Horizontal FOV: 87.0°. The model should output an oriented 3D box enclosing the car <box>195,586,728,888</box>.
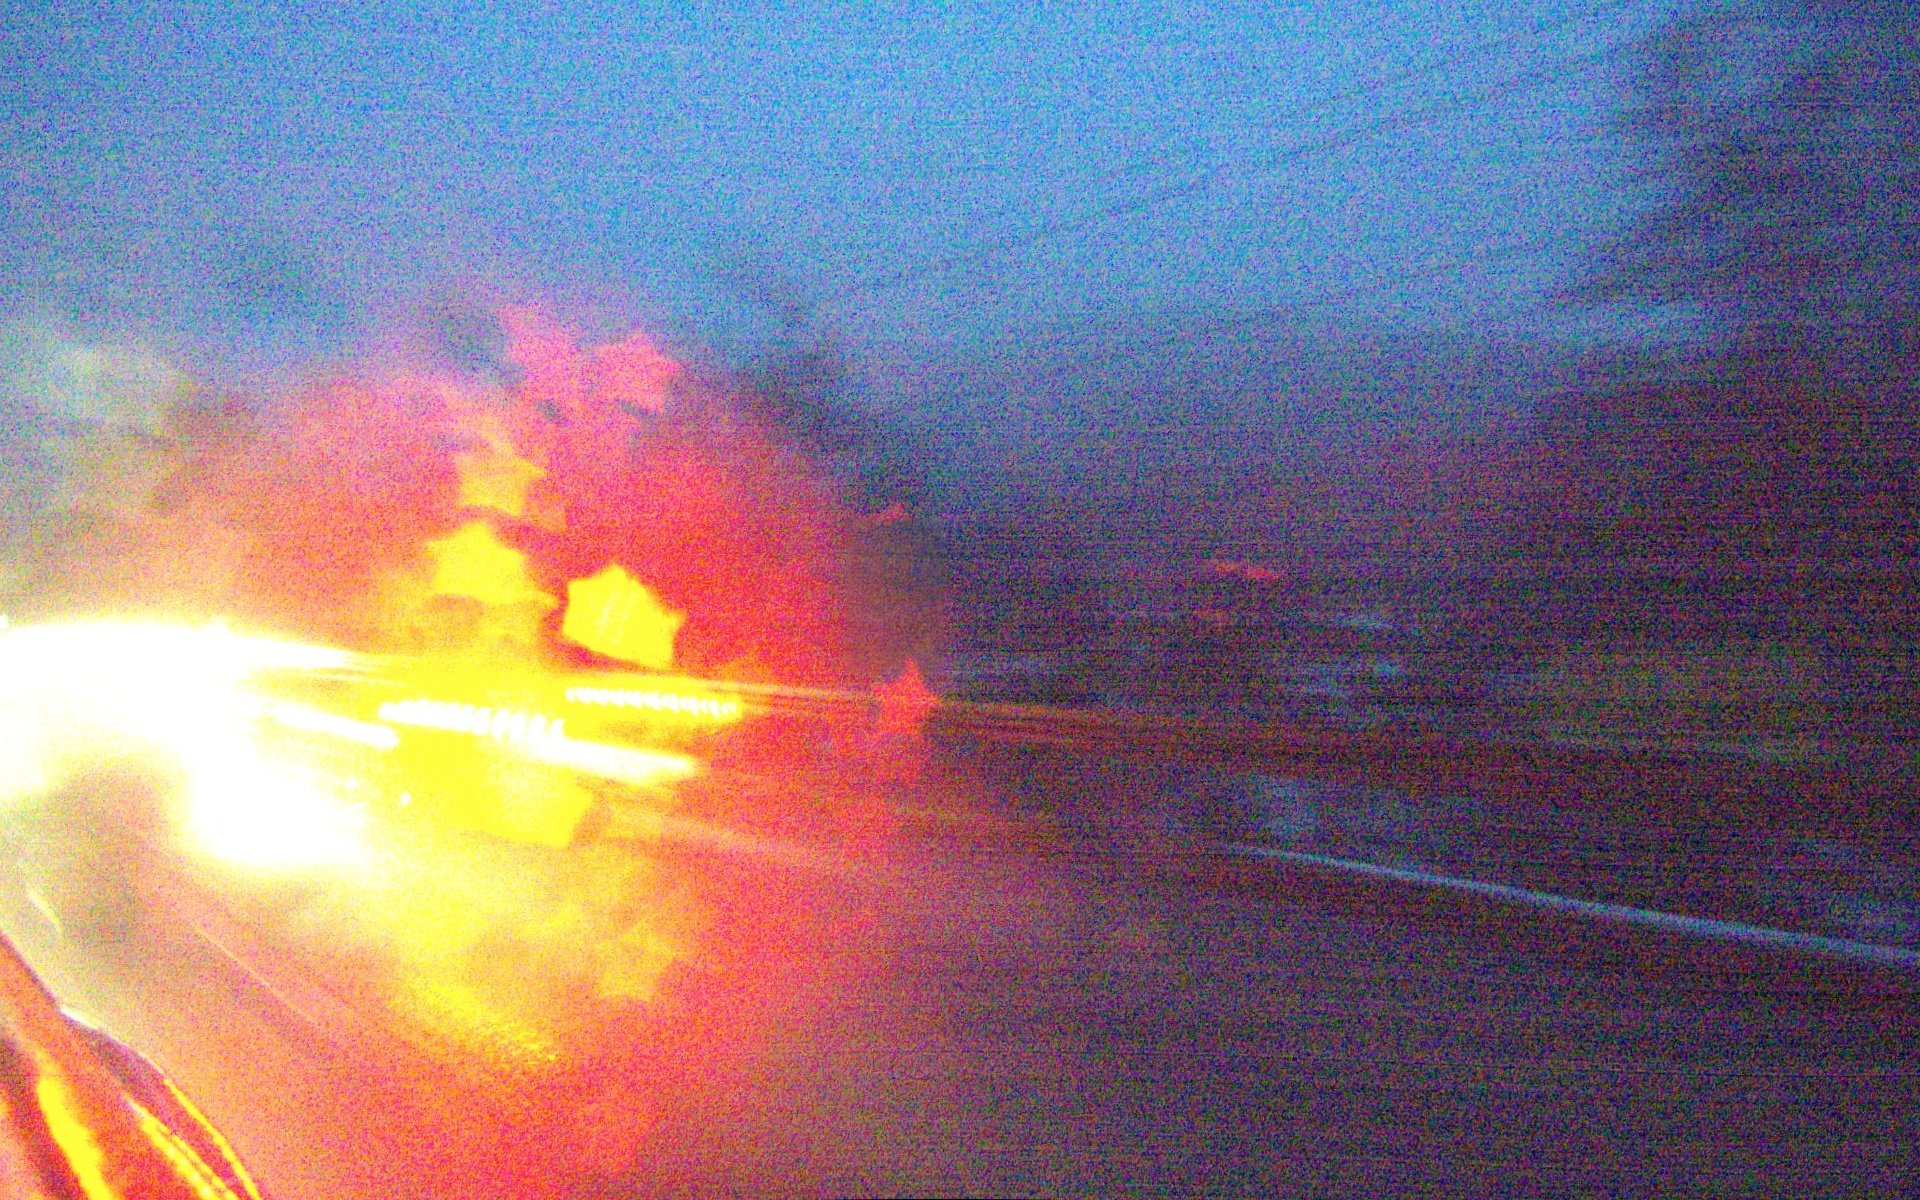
[{"bbox_3d":[-3.672,0.705,7.088,4.257,1.475,1.897,-1,-1,42],"label":"car"}]
